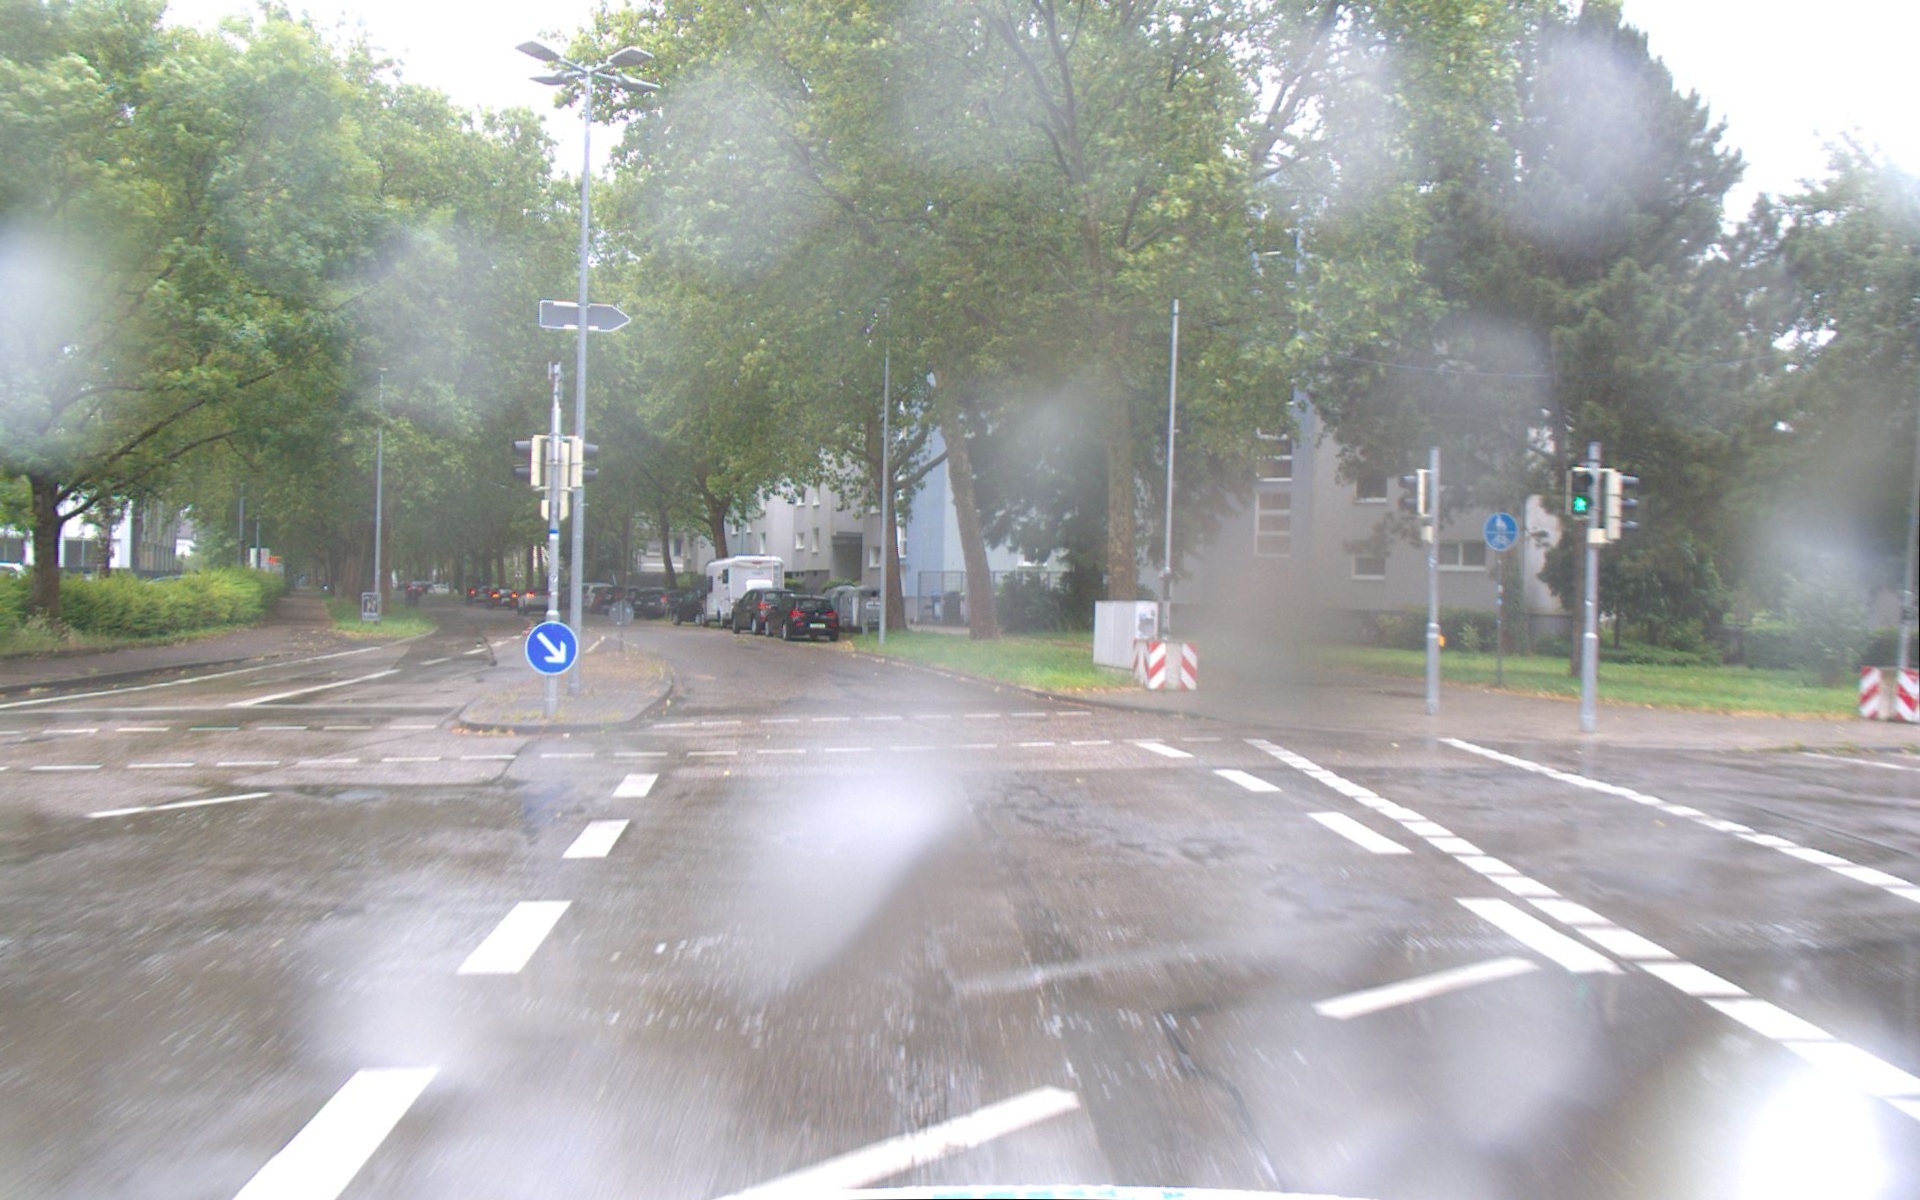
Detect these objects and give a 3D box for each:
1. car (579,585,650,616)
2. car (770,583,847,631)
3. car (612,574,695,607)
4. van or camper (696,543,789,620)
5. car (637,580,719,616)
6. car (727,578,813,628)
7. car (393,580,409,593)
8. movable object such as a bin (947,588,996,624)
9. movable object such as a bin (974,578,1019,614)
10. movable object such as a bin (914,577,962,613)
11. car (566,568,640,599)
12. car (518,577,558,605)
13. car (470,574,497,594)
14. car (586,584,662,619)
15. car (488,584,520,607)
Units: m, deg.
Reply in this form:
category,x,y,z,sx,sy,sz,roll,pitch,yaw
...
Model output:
category,x,y,z,sx,sy,sz,roll,pitch,yaw
car,-20.949,0.023,100.224,3.930,1.757,1.790,2,0,-21
car,-4.952,0.203,53.681,1.525,1.414,4.127,2,1,-19
car,-16.359,-0.487,88.325,1.999,1.629,3.977,2,1,41
van or camper,-8.809,-0.745,66.356,2.284,2.856,6.825,2,0,-20
car,-13.762,-0.082,80.857,1.769,1.629,3.751,2,1,38
car,-6.796,0.115,58.810,1.889,1.648,4.423,2,-1,-22
car,-67.233,-1.641,198.978,1.682,1.436,3.621,-1,2,-21
movable object such as a bin,0.485,0.247,70.910,1.205,1.457,1.837,2,0,-39
movable object such as a bin,1.526,-0.182,69.571,1.308,1.457,1.351,2,0,-39
movable object such as a bin,-0.952,-0.225,72.243,1.205,1.457,1.837,2,0,-39
car,-22.295,-1.028,103.276,4.276,1.792,1.807,2,0,-22
car,-23.503,-0.518,92.068,1.682,1.436,3.621,-1,2,-21
car,-37.101,-1.269,128.734,1.682,1.436,3.621,-1,2,-21
car,-18.553,0.071,91.428,1.804,1.726,3.847,2,3,40
car,-30.855,-0.331,111.813,1.682,1.436,3.621,-1,2,-21
